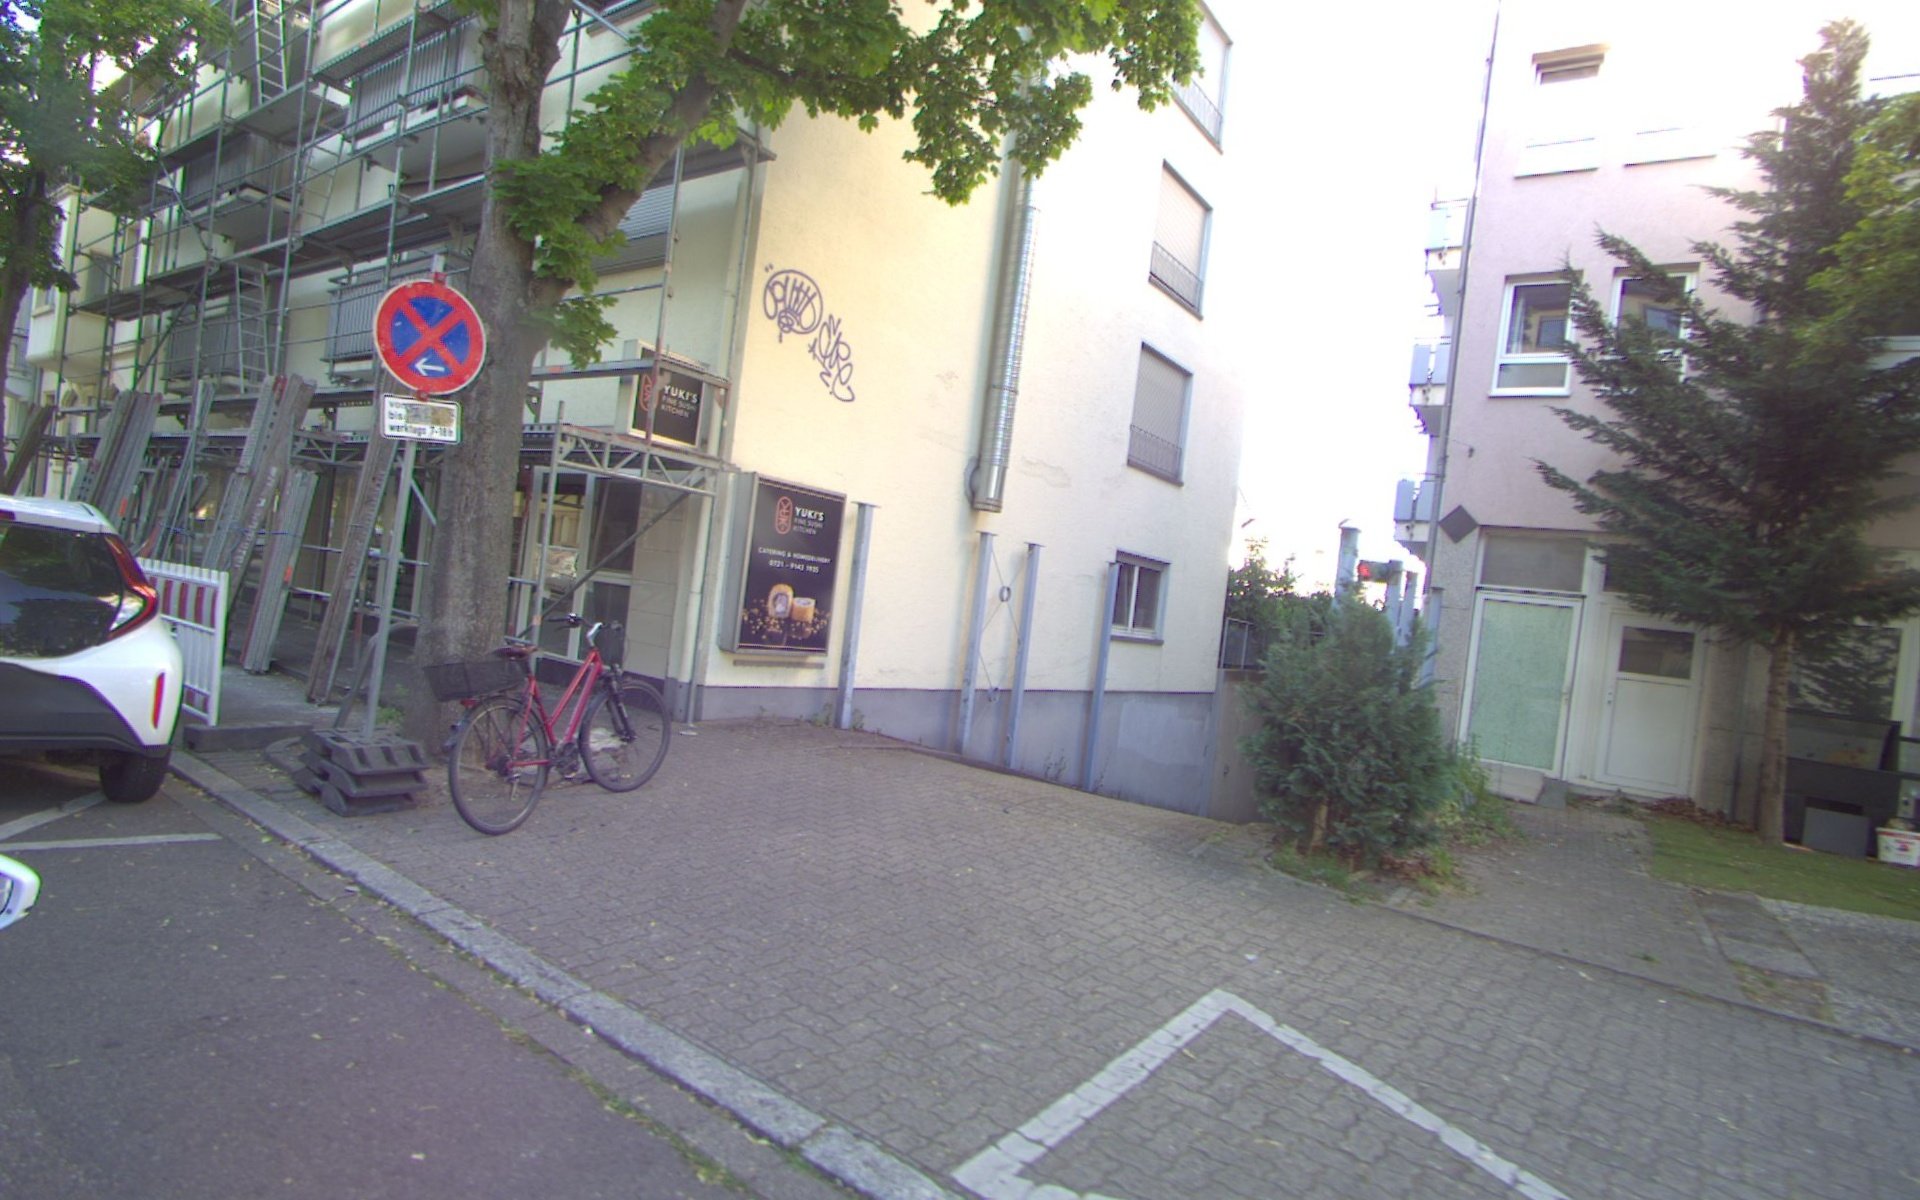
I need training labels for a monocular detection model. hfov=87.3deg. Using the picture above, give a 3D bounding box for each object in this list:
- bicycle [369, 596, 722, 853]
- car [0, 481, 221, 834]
[{"bbox_3d":[-2.306,0.610,5.932,0.713,1.181,1.984,7,2,19],"label":"bicycle"},{"bbox_3d":[-5.621,0.106,5.390,3.352,1.563,1.675,7,-2,37],"label":"car"}]
